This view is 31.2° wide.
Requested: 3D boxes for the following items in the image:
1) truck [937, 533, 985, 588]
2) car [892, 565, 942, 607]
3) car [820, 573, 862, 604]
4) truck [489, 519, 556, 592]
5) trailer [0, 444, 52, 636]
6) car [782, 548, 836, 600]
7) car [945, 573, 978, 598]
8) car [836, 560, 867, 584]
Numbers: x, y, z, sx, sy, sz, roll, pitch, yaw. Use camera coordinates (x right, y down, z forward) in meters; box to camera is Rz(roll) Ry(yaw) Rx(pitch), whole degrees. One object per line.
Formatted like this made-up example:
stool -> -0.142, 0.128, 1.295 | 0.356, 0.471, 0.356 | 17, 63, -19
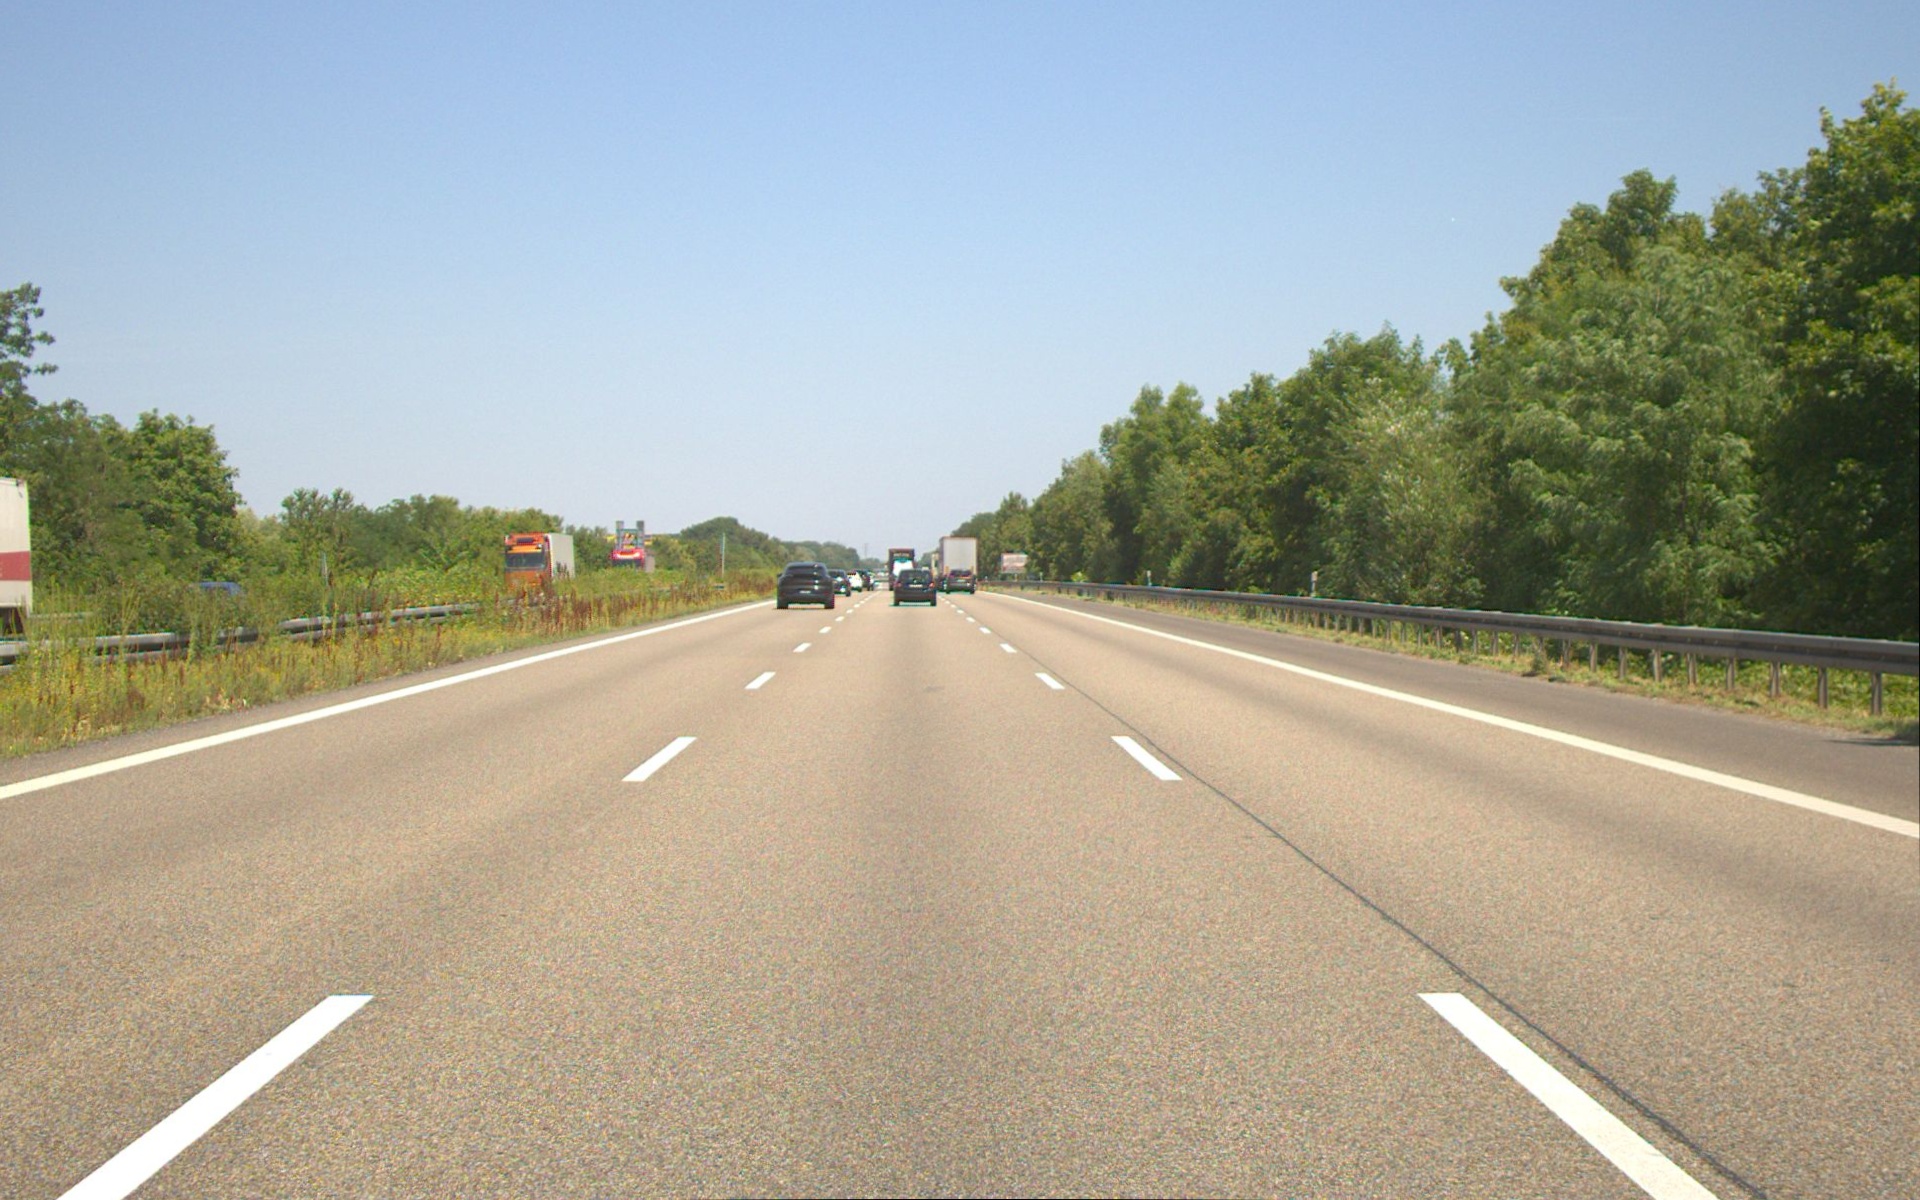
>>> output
truck -> 0.049, -2.949, 255.474 | 3.385, 3.957, 9.537 | -1, 0, 0
car -> -1.668, -0.565, 134.985 | 1.903, 1.578, 4.304 | -1, 0, 0
car -> -6.560, -0.648, 189.910 | 2.128, 1.640, 4.304 | -1, 0, 0
truck -> -24.824, -2.521, 195.246 | 2.732, 3.922, 7.416 | -3, 0, -1
trailer -> -22.278, -1.282, 73.024 | 2.842, 4.159, 12.222 | 0, 1, 0
car -> -5.380, -0.935, 122.872 | 1.880, 1.786, 4.001 | 0, 2, -2
car -> 0.100, -0.937, 223.502 | 2.128, 1.578, 4.304 | -1, 0, 0
car -> -7.764, -2.019, 246.614 | 2.128, 1.640, 4.304 | -1, 0, 0
